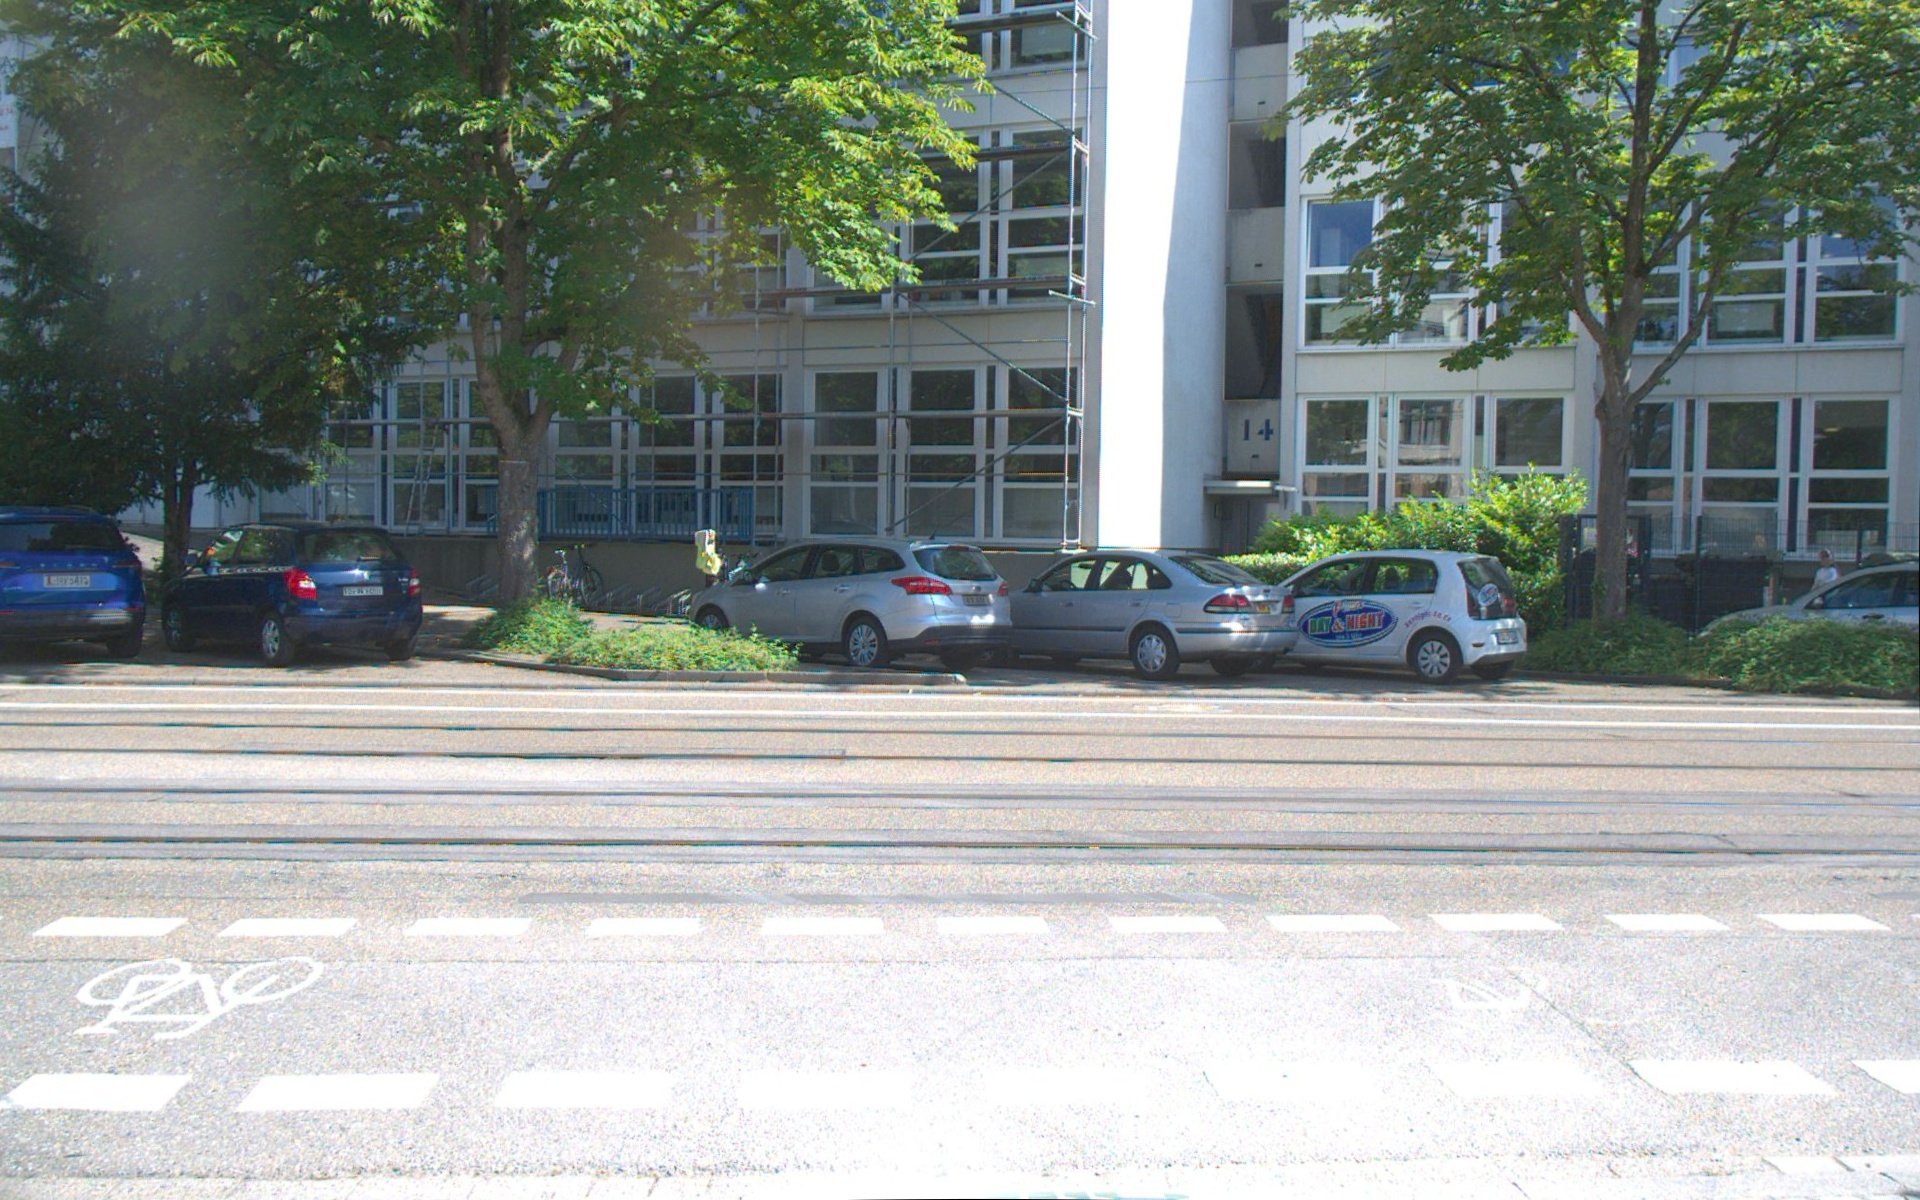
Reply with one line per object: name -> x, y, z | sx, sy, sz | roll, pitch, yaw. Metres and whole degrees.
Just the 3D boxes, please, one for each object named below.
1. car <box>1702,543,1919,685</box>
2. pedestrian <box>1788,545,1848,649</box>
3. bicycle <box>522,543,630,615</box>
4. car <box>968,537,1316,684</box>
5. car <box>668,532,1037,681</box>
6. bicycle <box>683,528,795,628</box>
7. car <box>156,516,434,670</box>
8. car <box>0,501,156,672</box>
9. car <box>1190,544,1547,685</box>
car -> 11.470, 0.158, 20.048 | 4.262, 1.632, 1.551 | 2, 2, 39
pedestrian -> 12.436, -0.047, 23.986 | 0.608, 1.486, 0.424 | 1, 2, -6
bicycle -> -6.141, -0.362, 26.578 | 0.725, 1.104, 2.205 | 1, 2, 15
car -> 2.049, 0.049, 19.322 | 3.878, 1.511, 1.602 | 3, 3, 44
car -> -1.346, -0.011, 19.342 | 4.356, 1.511, 1.774 | 3, 3, 42
bicycle -> -3.421, -0.362, 25.821 | 0.648, 1.478, 2.088 | 2, 2, 27
car -> -7.505, -0.146, 18.551 | 3.396, 1.557, 1.567 | 3, 3, 42
car -> -10.510, -0.243, 18.355 | 1.767, 1.650, 3.883 | -2, 5, -44
car -> 4.790, 0.103, 19.718 | 3.876, 1.512, 1.603 | 1, 2, 43
